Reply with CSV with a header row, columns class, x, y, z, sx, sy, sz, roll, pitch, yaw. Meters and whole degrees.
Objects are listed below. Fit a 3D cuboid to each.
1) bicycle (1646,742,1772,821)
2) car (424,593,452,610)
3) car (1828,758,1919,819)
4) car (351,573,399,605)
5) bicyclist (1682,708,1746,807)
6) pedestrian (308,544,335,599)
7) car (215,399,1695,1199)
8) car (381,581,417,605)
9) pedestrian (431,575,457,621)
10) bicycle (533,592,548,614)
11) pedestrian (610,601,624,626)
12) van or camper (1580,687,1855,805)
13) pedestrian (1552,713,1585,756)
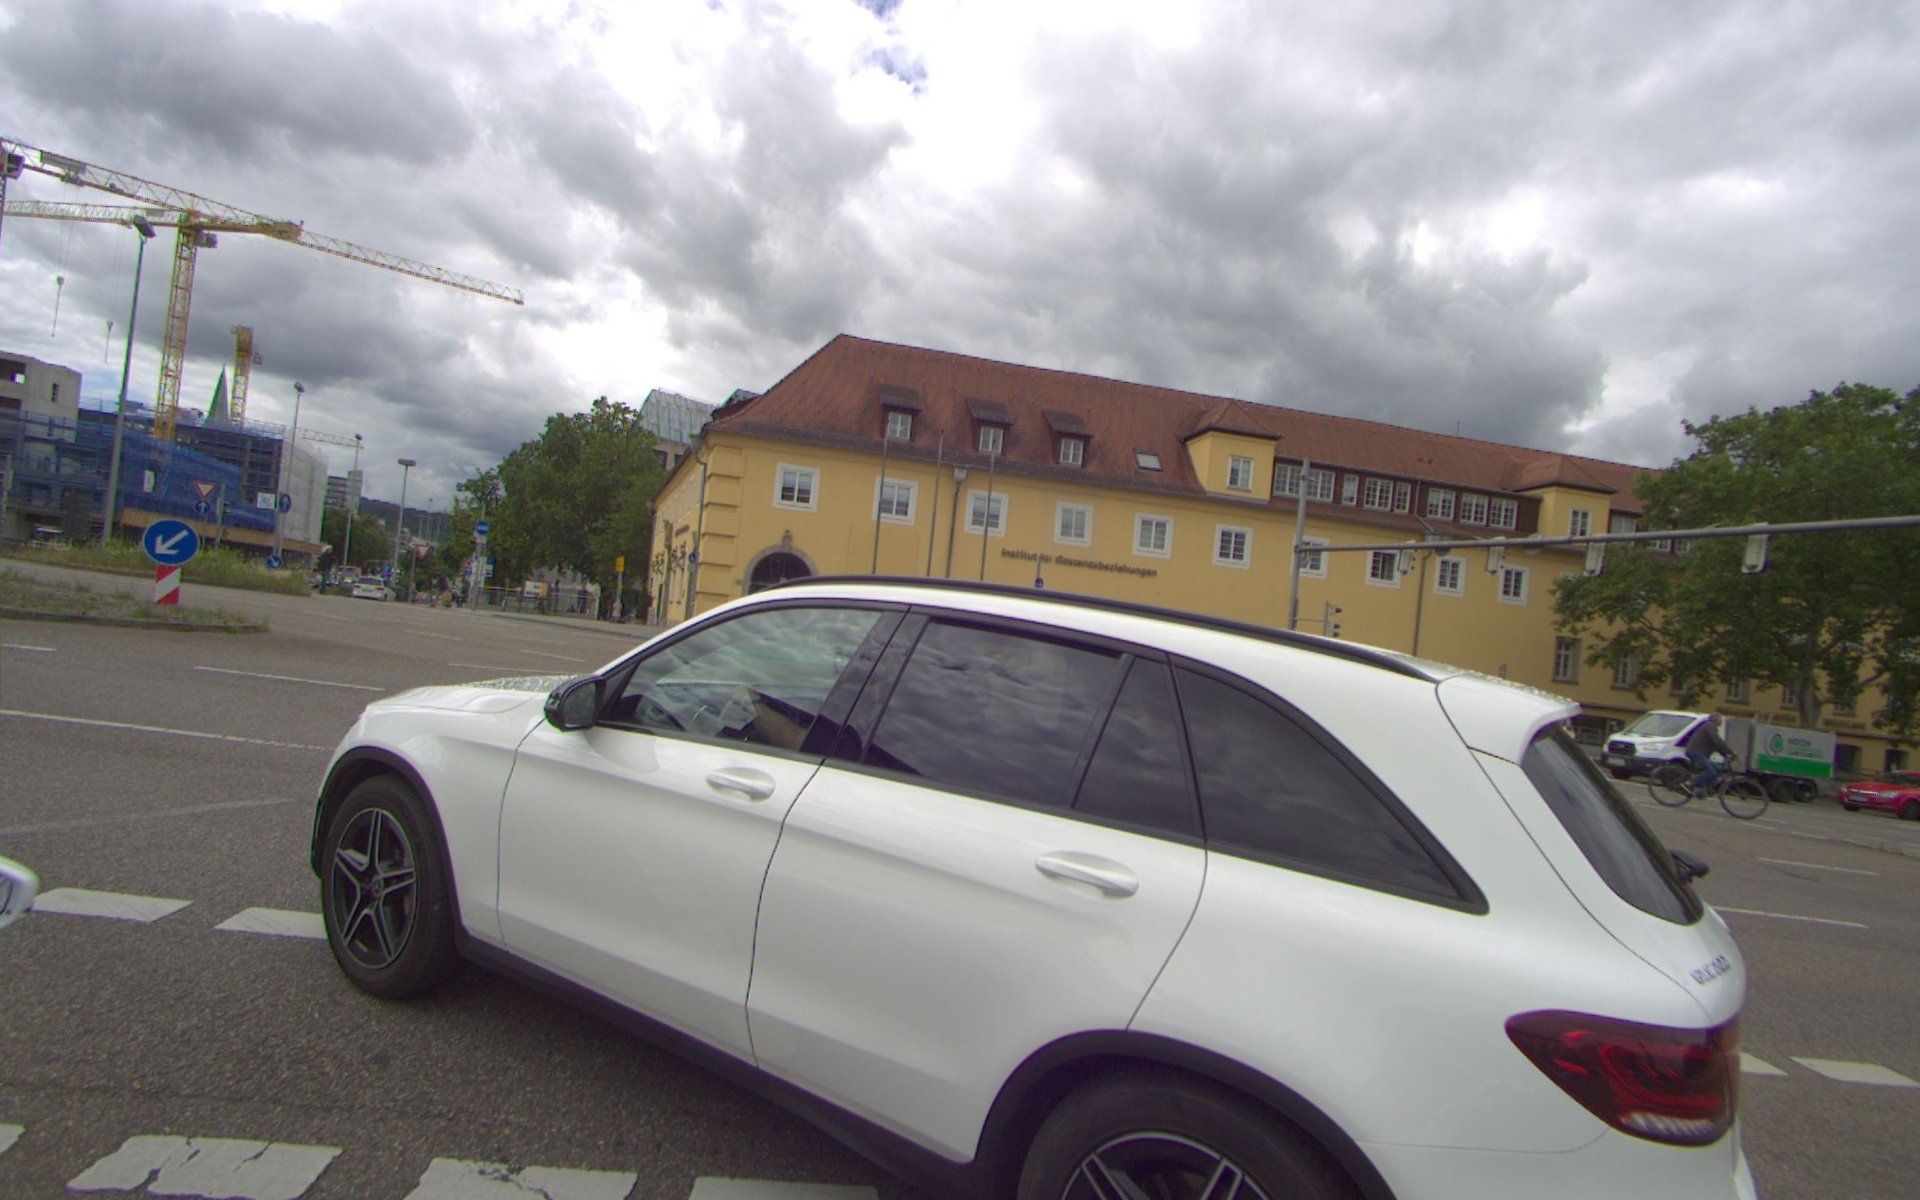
class,x,y,z,sx,sy,sz,roll,pitch,yaw
bicycle,13.578,3.262,18.267,1.705,1.085,0.503,6,-1,42
car,-59.290,0.186,114.298,1.971,1.654,3.985,8,-1,-18
car,27.671,5.613,29.443,3.429,1.371,1.613,8,-1,-12
car,-36.747,-0.671,63.303,1.854,1.618,3.985,8,-4,-21
bicyclist,13.673,2.845,18.248,0.712,1.659,0.502,7,0,44
pedestrian,-23.416,-1.048,36.881,0.555,1.918,0.631,7,1,-43
car,-0.373,0.391,3.376,4.261,1.666,1.805,7,-1,31
car,-46.856,-0.604,84.095,1.974,1.654,3.979,8,-1,-23
pedestrian,-21.769,-0.089,42.428,0.743,1.810,0.823,7,0,-24
bicycle,-22.891,0.156,54.902,0.613,1.098,1.764,7,-2,-22
pedestrian,-21.235,0.809,62.255,0.618,1.467,0.721,7,-1,-16
van or camper,21.378,4.093,28.528,6.180,2.289,2.372,8,-1,-8
pedestrian,21.890,4.828,36.184,0.570,1.396,0.680,7,0,-12
